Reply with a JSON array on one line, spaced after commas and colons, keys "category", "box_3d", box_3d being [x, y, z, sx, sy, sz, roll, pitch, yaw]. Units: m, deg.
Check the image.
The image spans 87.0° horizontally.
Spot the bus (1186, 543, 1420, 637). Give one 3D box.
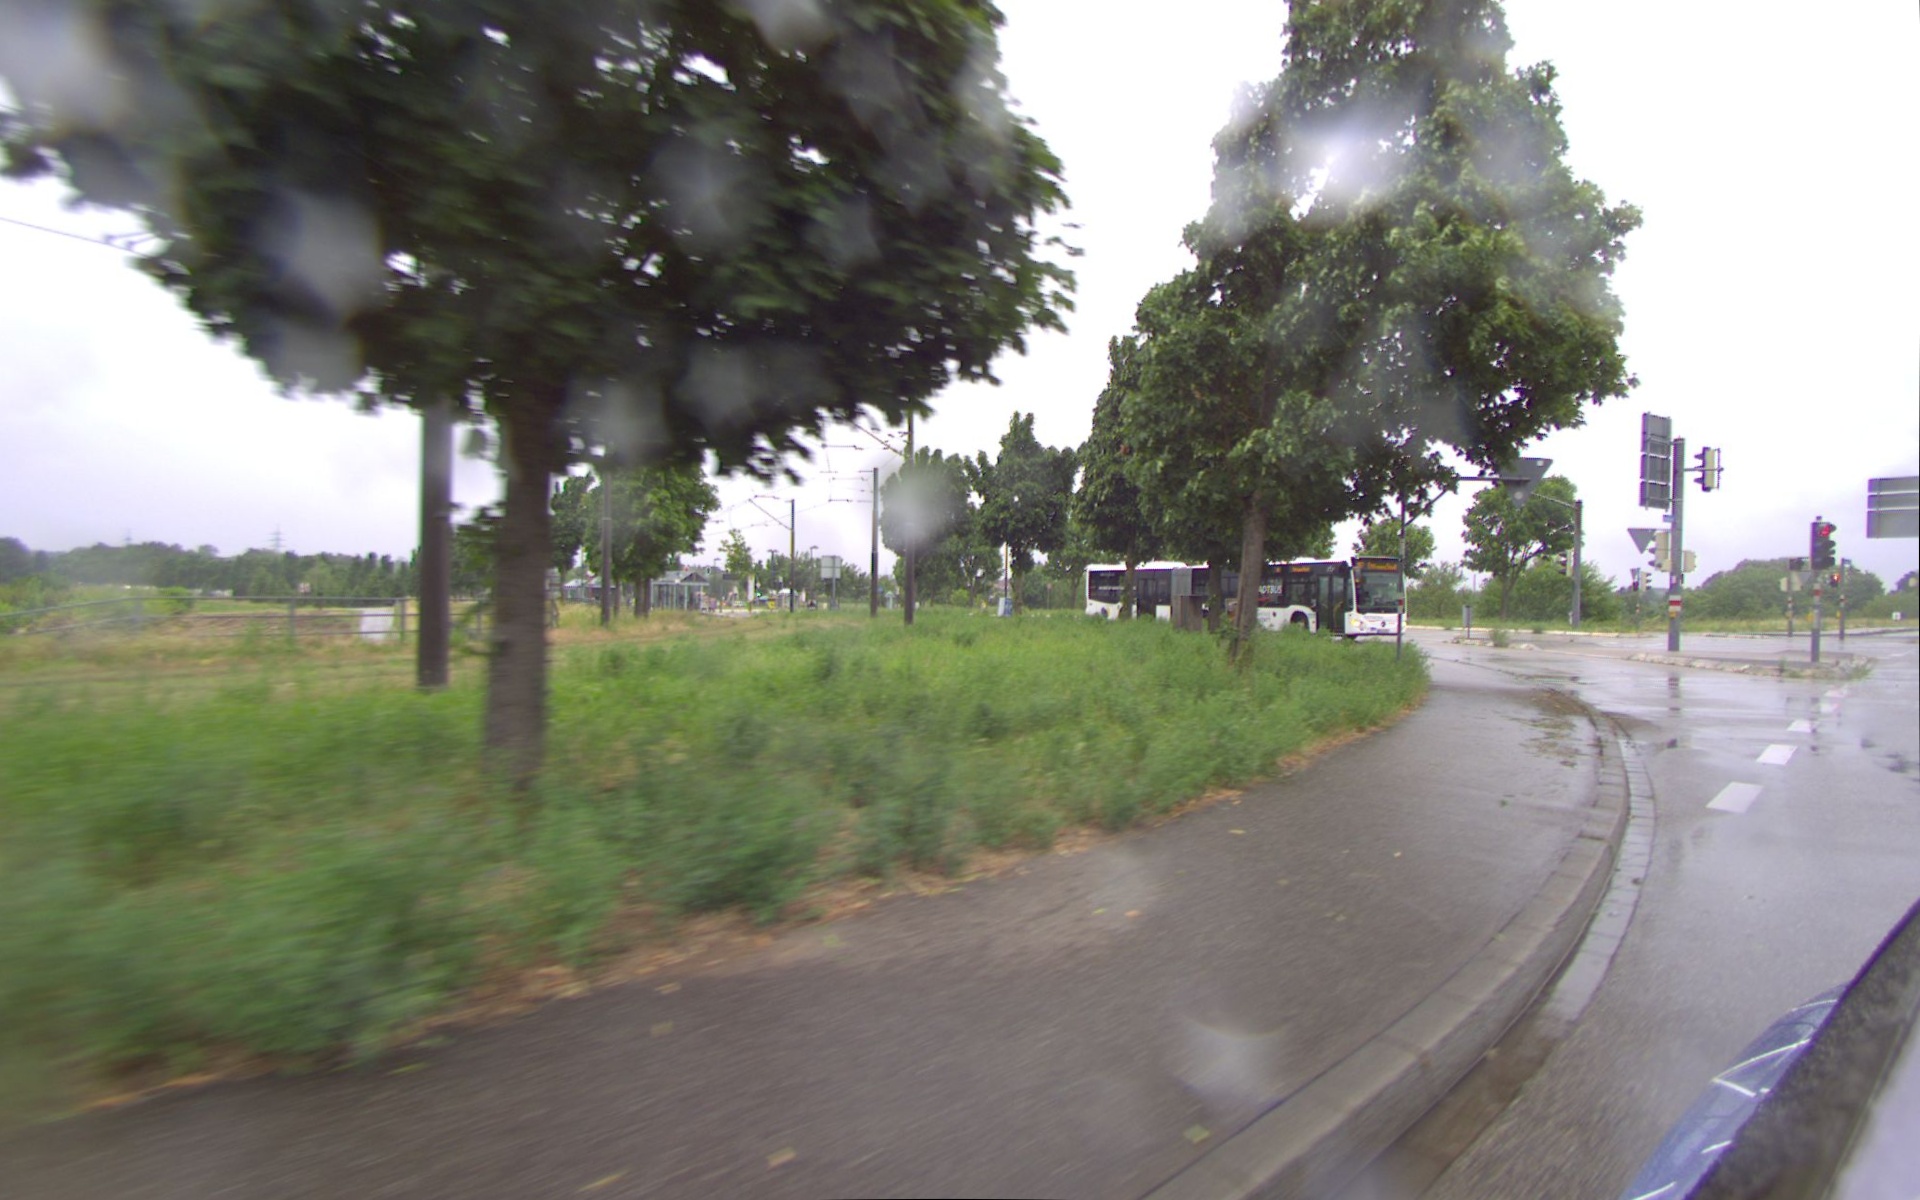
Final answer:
[{"category": "bus", "box_3d": [12.609, -0.361, 38.663, 2.622, 3.116, 10.014, 0, 0, -22]}]

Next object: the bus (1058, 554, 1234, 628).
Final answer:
[{"category": "bus", "box_3d": [8.469, -0.424, 47.870, 2.624, 3.116, 10.009, 0, 0, -27]}]
